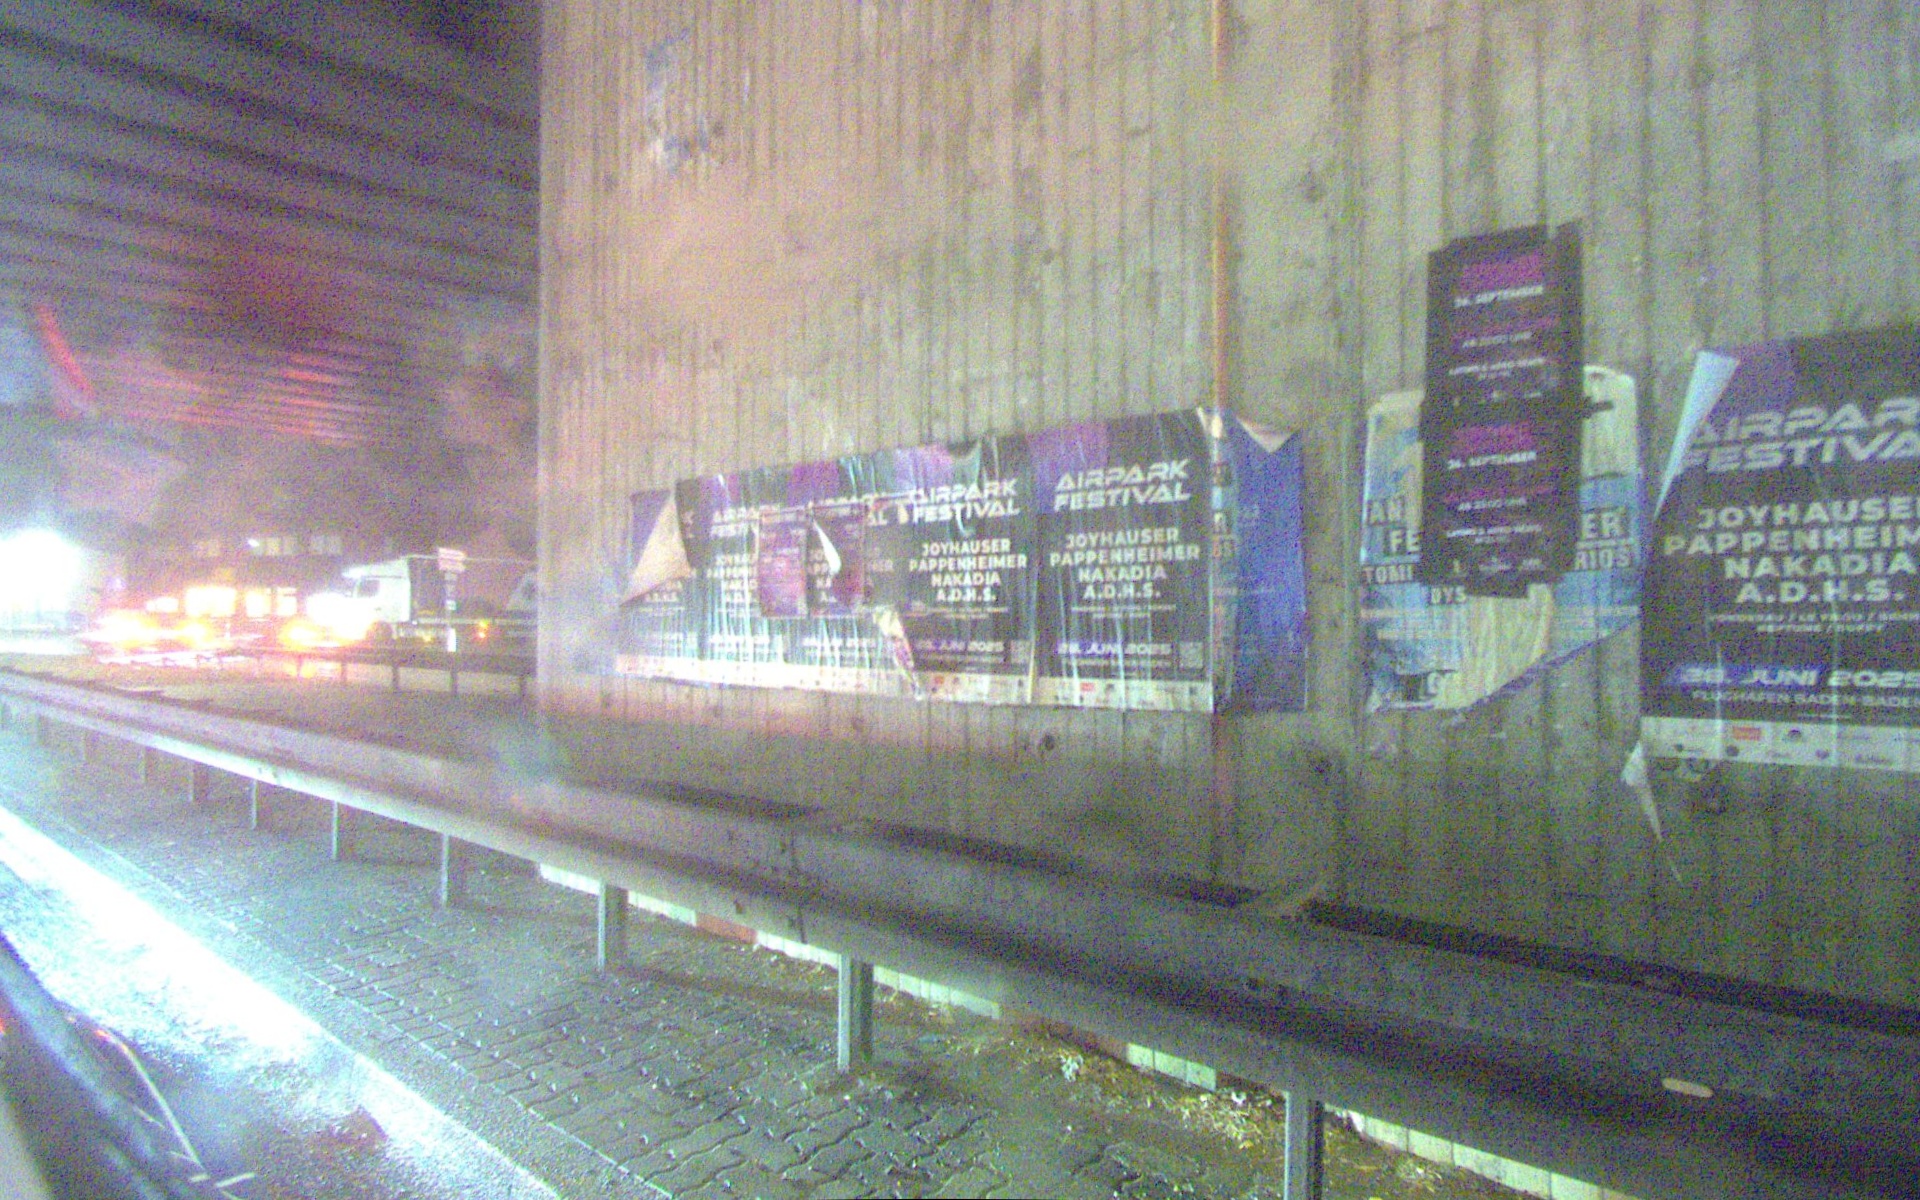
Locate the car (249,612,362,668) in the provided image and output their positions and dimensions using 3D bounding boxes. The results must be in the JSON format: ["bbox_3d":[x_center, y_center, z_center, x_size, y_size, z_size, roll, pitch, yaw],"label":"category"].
[{"bbox_3d":[-20.558,1.194,31.741,4.139,1.617,1.799,-1,0,40],"label":"car"}]

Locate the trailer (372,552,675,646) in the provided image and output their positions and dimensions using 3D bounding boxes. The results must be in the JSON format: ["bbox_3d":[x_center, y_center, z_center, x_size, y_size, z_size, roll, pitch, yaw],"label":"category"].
[{"bbox_3d":[-21.751,-0.114,51.596,13.713,4.208,3.973,-1,0,-44],"label":"trailer"}]

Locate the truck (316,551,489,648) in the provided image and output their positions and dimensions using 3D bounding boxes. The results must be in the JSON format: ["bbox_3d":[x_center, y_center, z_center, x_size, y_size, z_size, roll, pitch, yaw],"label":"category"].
[{"bbox_3d":[-26.028,-0.052,47.375,6.282,4.208,3.973,-1,0,-44],"label":"truck"}]

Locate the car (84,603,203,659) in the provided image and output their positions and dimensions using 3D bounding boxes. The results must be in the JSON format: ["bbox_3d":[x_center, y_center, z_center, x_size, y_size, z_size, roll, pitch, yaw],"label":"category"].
[{"bbox_3d":[-24.448,0.885,30.270,3.996,1.530,1.974,-1,0,39],"label":"car"}]
